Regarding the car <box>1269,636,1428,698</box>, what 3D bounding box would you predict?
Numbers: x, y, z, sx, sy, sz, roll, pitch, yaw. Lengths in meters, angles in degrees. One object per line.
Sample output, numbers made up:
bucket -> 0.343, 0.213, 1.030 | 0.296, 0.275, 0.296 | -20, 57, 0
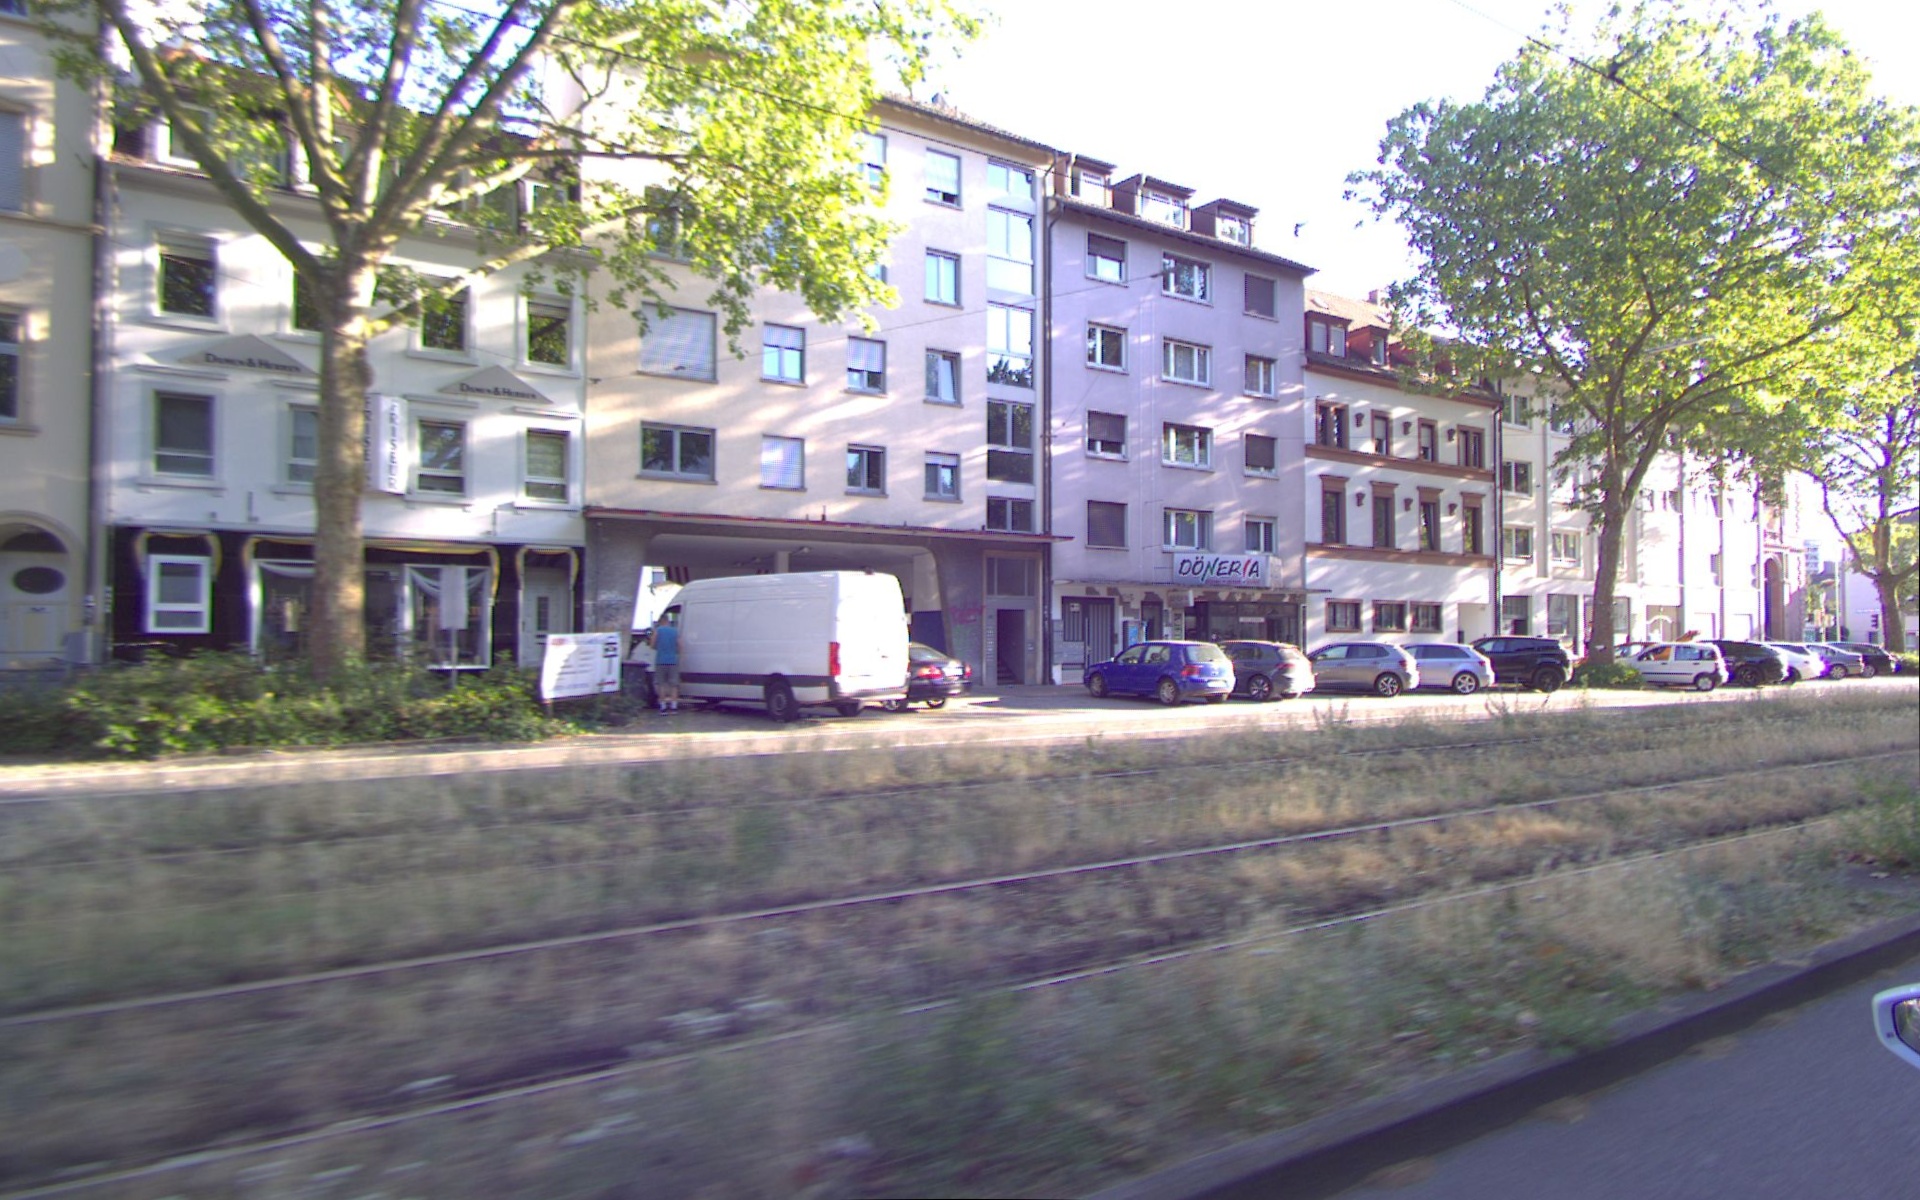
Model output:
car -> 10.715, 1.793, 27.712 | 3.926, 1.441, 1.754 | 1, 0, 27

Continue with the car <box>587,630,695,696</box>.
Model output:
car -> -8.844, 1.662, 27.648 | 1.977, 1.562, 3.967 | 1, 0, -31

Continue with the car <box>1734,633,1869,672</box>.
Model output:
car -> 34.867, 2.152, 41.742 | 3.921, 1.460, 1.722 | 1, 0, 20

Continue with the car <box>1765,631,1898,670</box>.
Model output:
car -> 37.506, 2.167, 43.333 | 3.920, 1.499, 1.818 | 1, 0, 18

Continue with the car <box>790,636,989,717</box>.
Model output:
car -> -1.543, 1.537, 21.323 | 3.939, 1.510, 1.991 | -1, -2, 39

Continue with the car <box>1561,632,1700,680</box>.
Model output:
car -> 23.911, 1.949, 35.882 | 3.941, 1.499, 1.769 | 1, 0, 41

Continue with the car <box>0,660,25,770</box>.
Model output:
car -> -14.143, 1.502, 12.833 | 3.930, 1.375, 1.801 | -2, -3, 24

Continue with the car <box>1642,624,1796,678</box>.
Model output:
car -> 27.482, 1.889, 36.582 | 4.293, 1.809, 1.988 | -4, -5, 35

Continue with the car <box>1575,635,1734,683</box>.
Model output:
car -> 23.284, 1.950, 33.839 | 4.291, 1.468, 1.654 | 0, -2, 35

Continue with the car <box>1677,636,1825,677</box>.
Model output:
car -> 30.116, 2.112, 38.414 | 4.126, 1.351, 1.721 | 1, 0, 25

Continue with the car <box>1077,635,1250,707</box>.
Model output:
car -> 4.796, 1.634, 24.162 | 1.838, 1.439, 3.964 | 1, 0, -33

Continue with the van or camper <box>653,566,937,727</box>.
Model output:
van or camper -> -3.352, 0.870, 19.463 | 5.880, 2.681, 2.168 | -2, -2, 41

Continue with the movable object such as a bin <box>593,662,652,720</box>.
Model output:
movable object such as a bin -> -6.413, 1.714, 19.084 | 0.862, 1.035, 0.732 | 1, -3, -42

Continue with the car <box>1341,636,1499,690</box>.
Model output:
car -> 13.238, 1.796, 29.162 | 3.920, 1.404, 1.913 | 0, -1, 16

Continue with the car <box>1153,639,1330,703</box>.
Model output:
car -> 7.138, 1.764, 25.753 | 1.937, 1.511, 3.951 | 1, -3, -42

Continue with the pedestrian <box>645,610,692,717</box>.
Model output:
pedestrian -> -5.673, 1.218, 19.526 | 0.609, 2.040, 0.648 | -2, -2, 41

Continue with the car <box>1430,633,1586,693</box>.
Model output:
car -> 16.635, 1.876, 30.720 | 3.921, 1.682, 2.000 | 0, -1, 20
